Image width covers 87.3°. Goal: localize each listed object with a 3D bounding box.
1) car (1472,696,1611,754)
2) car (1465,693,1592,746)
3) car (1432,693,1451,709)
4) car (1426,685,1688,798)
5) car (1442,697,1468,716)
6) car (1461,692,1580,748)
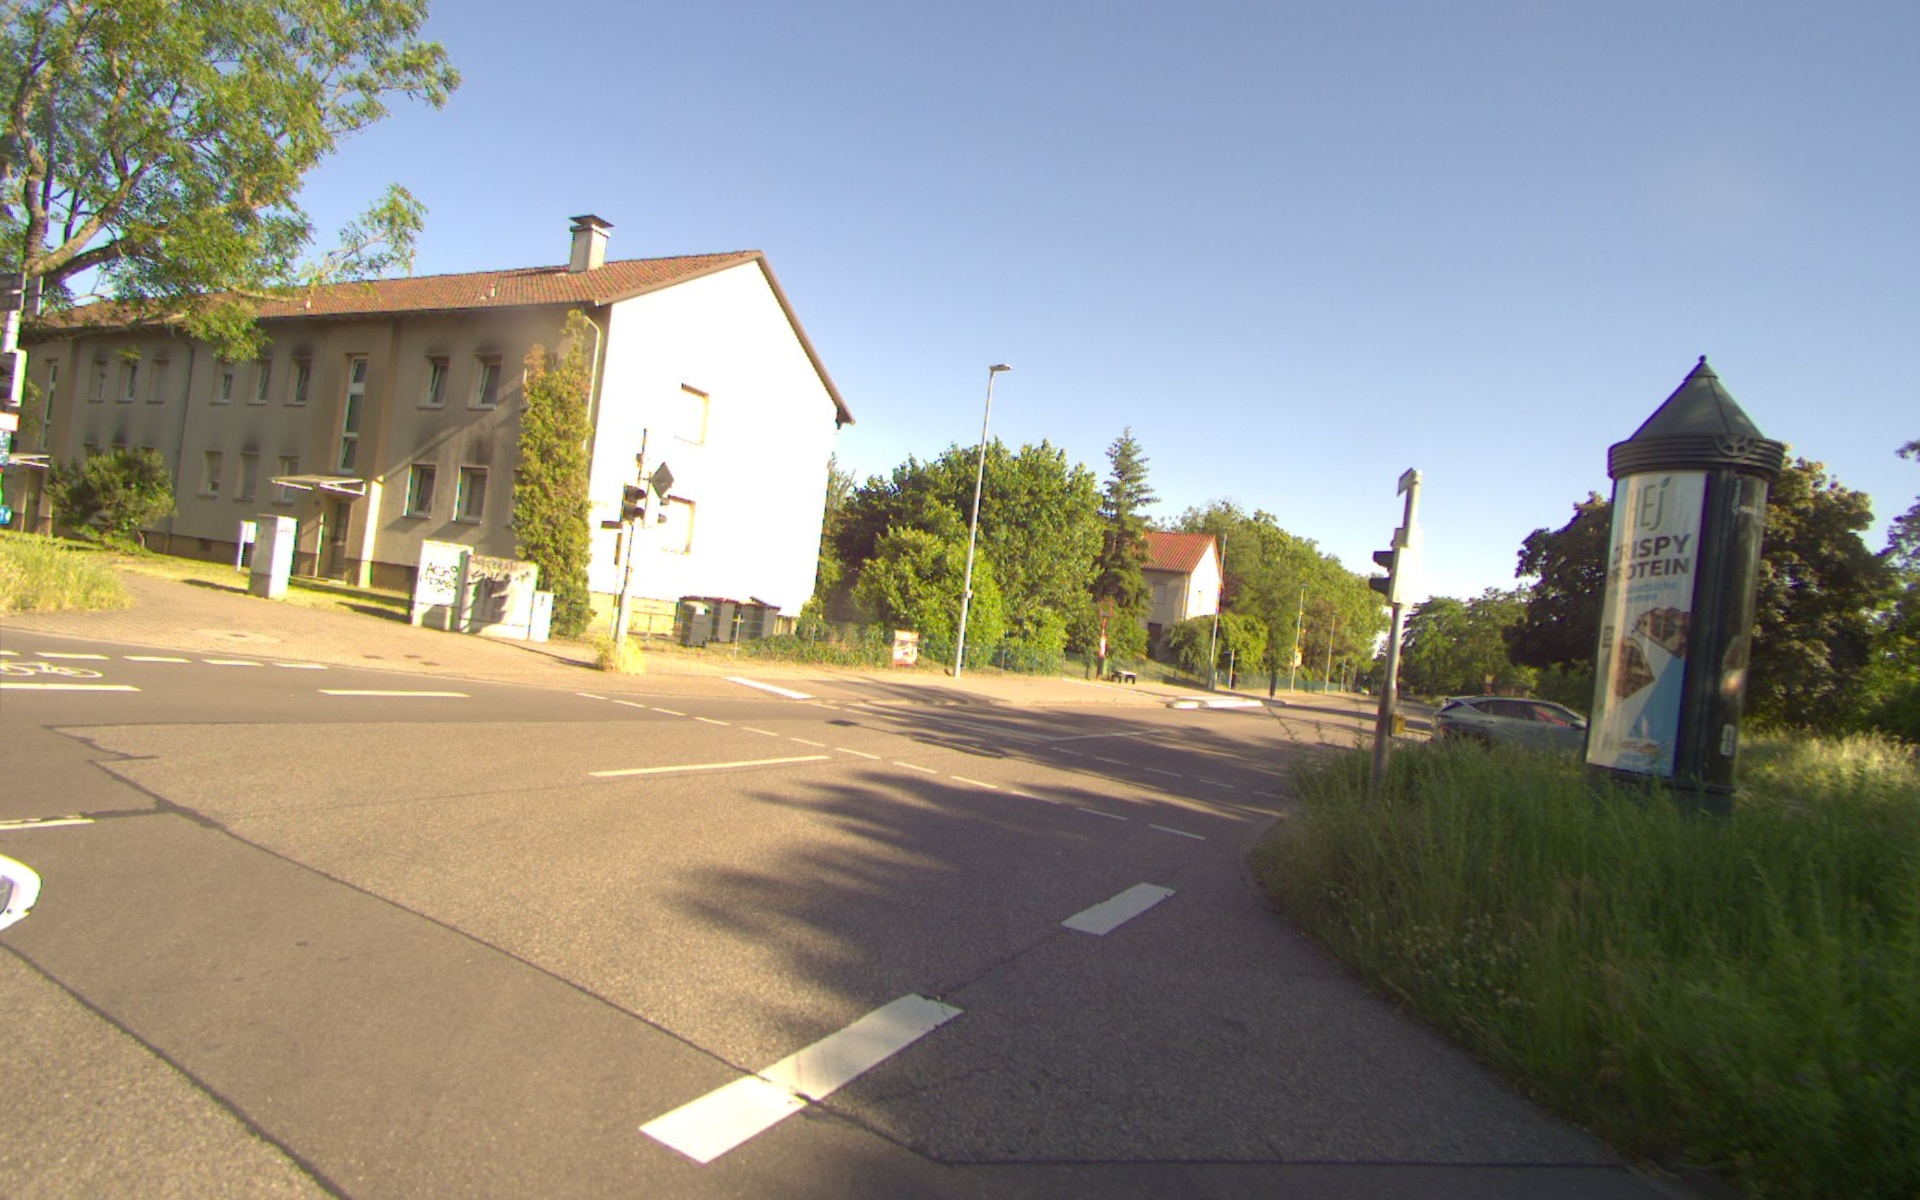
[{"bbox_3d":[20.734,4.460,36.067,4.124,1.548,1.869,4,-4,28],"label":"car"},{"bbox_3d":[21.977,4.626,39.087,4.124,1.548,1.869,4,-4,28],"label":"car"},{"bbox_3d":[57.237,12.024,119.615,1.836,1.548,4.200,5,-4,24],"label":"car"},{"bbox_3d":[12.111,2.854,20.737,4.371,1.668,1.869,4,-4,28],"label":"car"},{"bbox_3d":[46.238,9.979,94.018,1.836,1.548,4.200,5,-4,24],"label":"car"},{"bbox_3d":[23.429,5.008,42.200,4.123,1.550,1.868,8,0,28],"label":"car"}]
